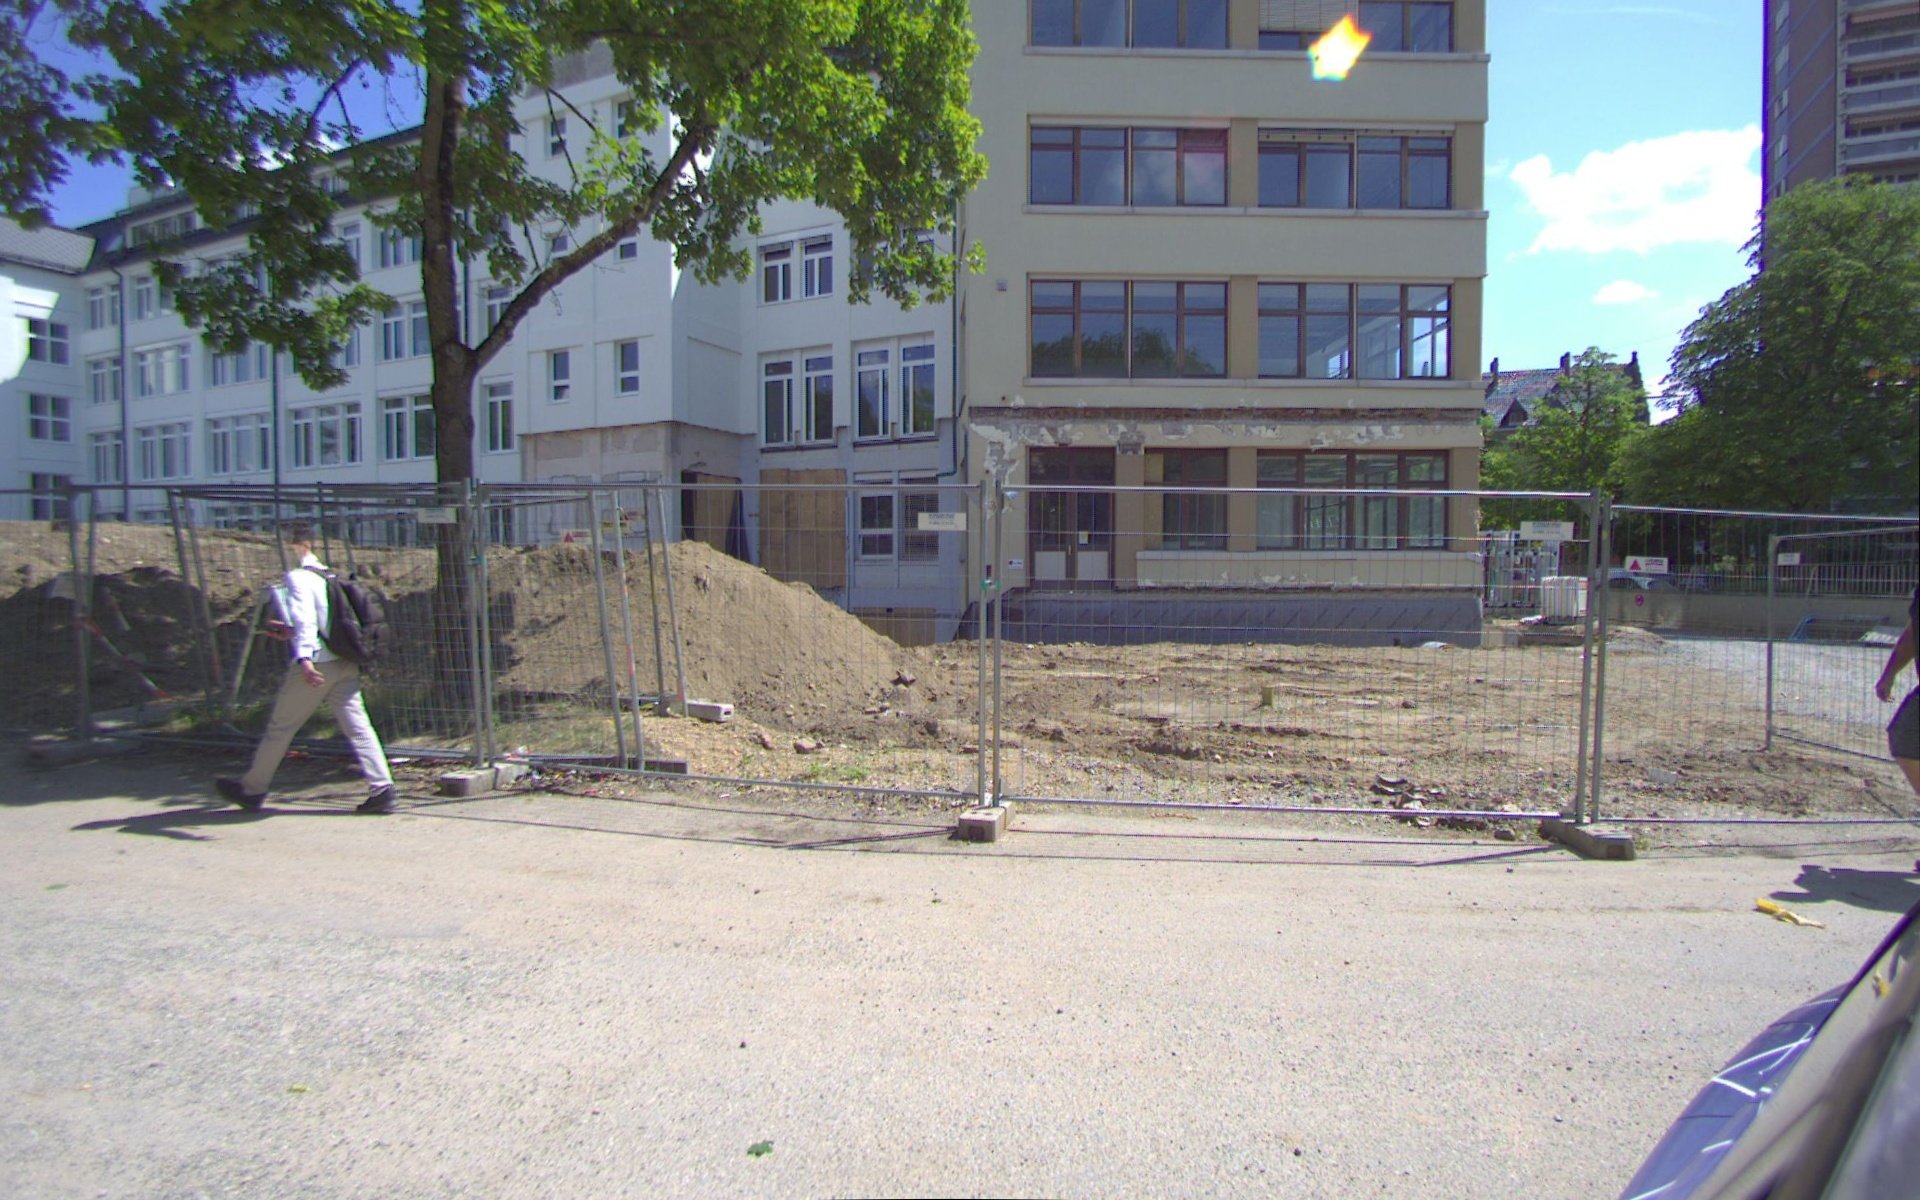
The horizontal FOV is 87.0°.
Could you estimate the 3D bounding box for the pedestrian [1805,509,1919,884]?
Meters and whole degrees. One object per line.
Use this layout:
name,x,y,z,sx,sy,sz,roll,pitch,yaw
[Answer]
pedestrian,5.165,0.468,5.174,0.948,1.842,0.872,0,1,-9

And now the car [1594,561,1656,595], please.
car,40.465,-1.345,61.554,3.926,2.039,1.999,-1,1,-37

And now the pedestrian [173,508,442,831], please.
pedestrian,-3.865,0.361,6.049,1.065,1.751,0.873,1,1,15
